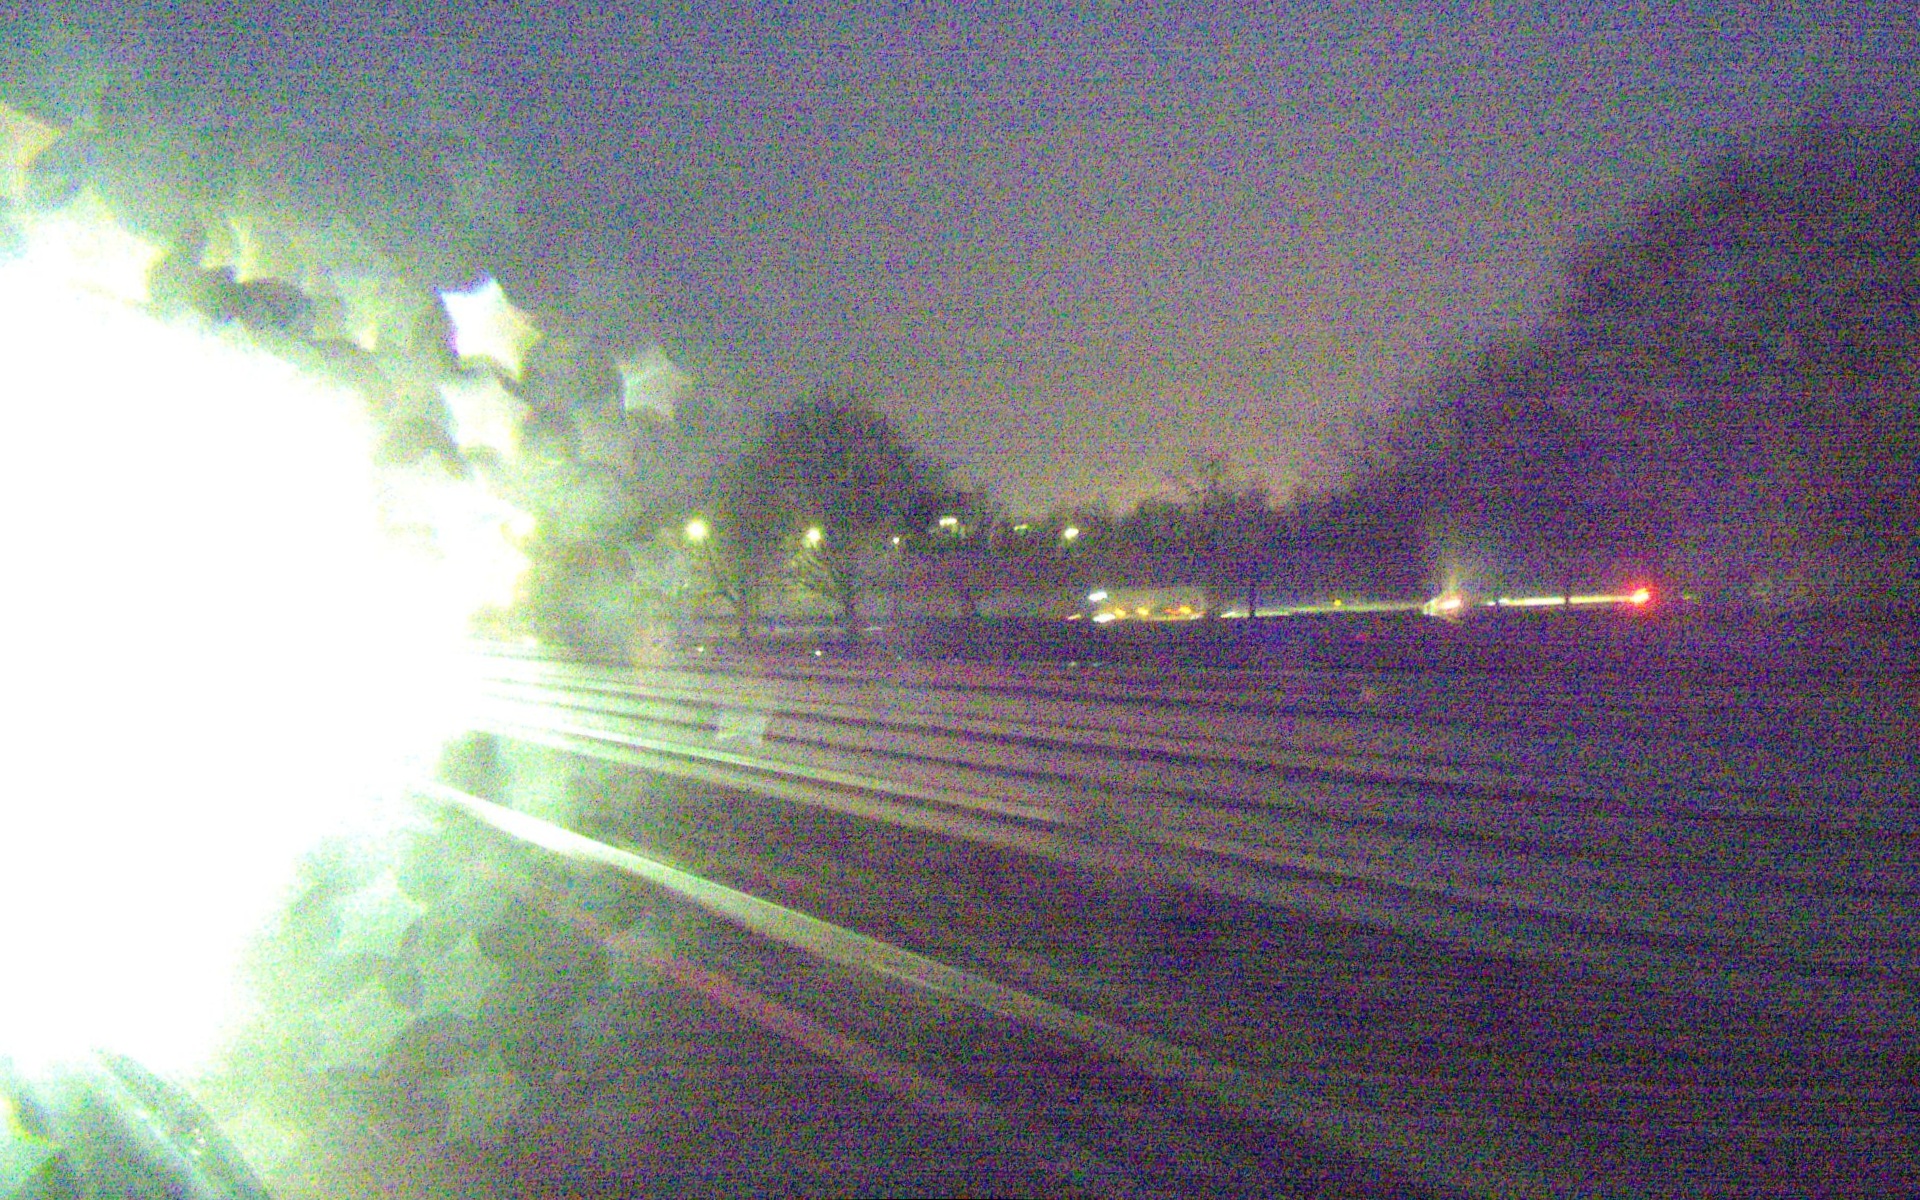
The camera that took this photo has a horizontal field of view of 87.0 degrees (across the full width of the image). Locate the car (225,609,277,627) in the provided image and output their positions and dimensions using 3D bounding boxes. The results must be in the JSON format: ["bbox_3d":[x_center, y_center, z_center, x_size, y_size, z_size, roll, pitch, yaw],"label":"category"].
[{"bbox_3d":[-72.759,1.849,103.853,1.711,1.451,3.962,-4,1,28],"label":"car"}]

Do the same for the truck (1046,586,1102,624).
[{"bbox_3d":[12.409,0.550,110.258,5.415,3.738,2.580,-3,1,19],"label":"truck"}]

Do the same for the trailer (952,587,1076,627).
[{"bbox_3d":[5.968,0.847,112.597,13.548,3.752,2.584,-3,2,20],"label":"trailer"}]
